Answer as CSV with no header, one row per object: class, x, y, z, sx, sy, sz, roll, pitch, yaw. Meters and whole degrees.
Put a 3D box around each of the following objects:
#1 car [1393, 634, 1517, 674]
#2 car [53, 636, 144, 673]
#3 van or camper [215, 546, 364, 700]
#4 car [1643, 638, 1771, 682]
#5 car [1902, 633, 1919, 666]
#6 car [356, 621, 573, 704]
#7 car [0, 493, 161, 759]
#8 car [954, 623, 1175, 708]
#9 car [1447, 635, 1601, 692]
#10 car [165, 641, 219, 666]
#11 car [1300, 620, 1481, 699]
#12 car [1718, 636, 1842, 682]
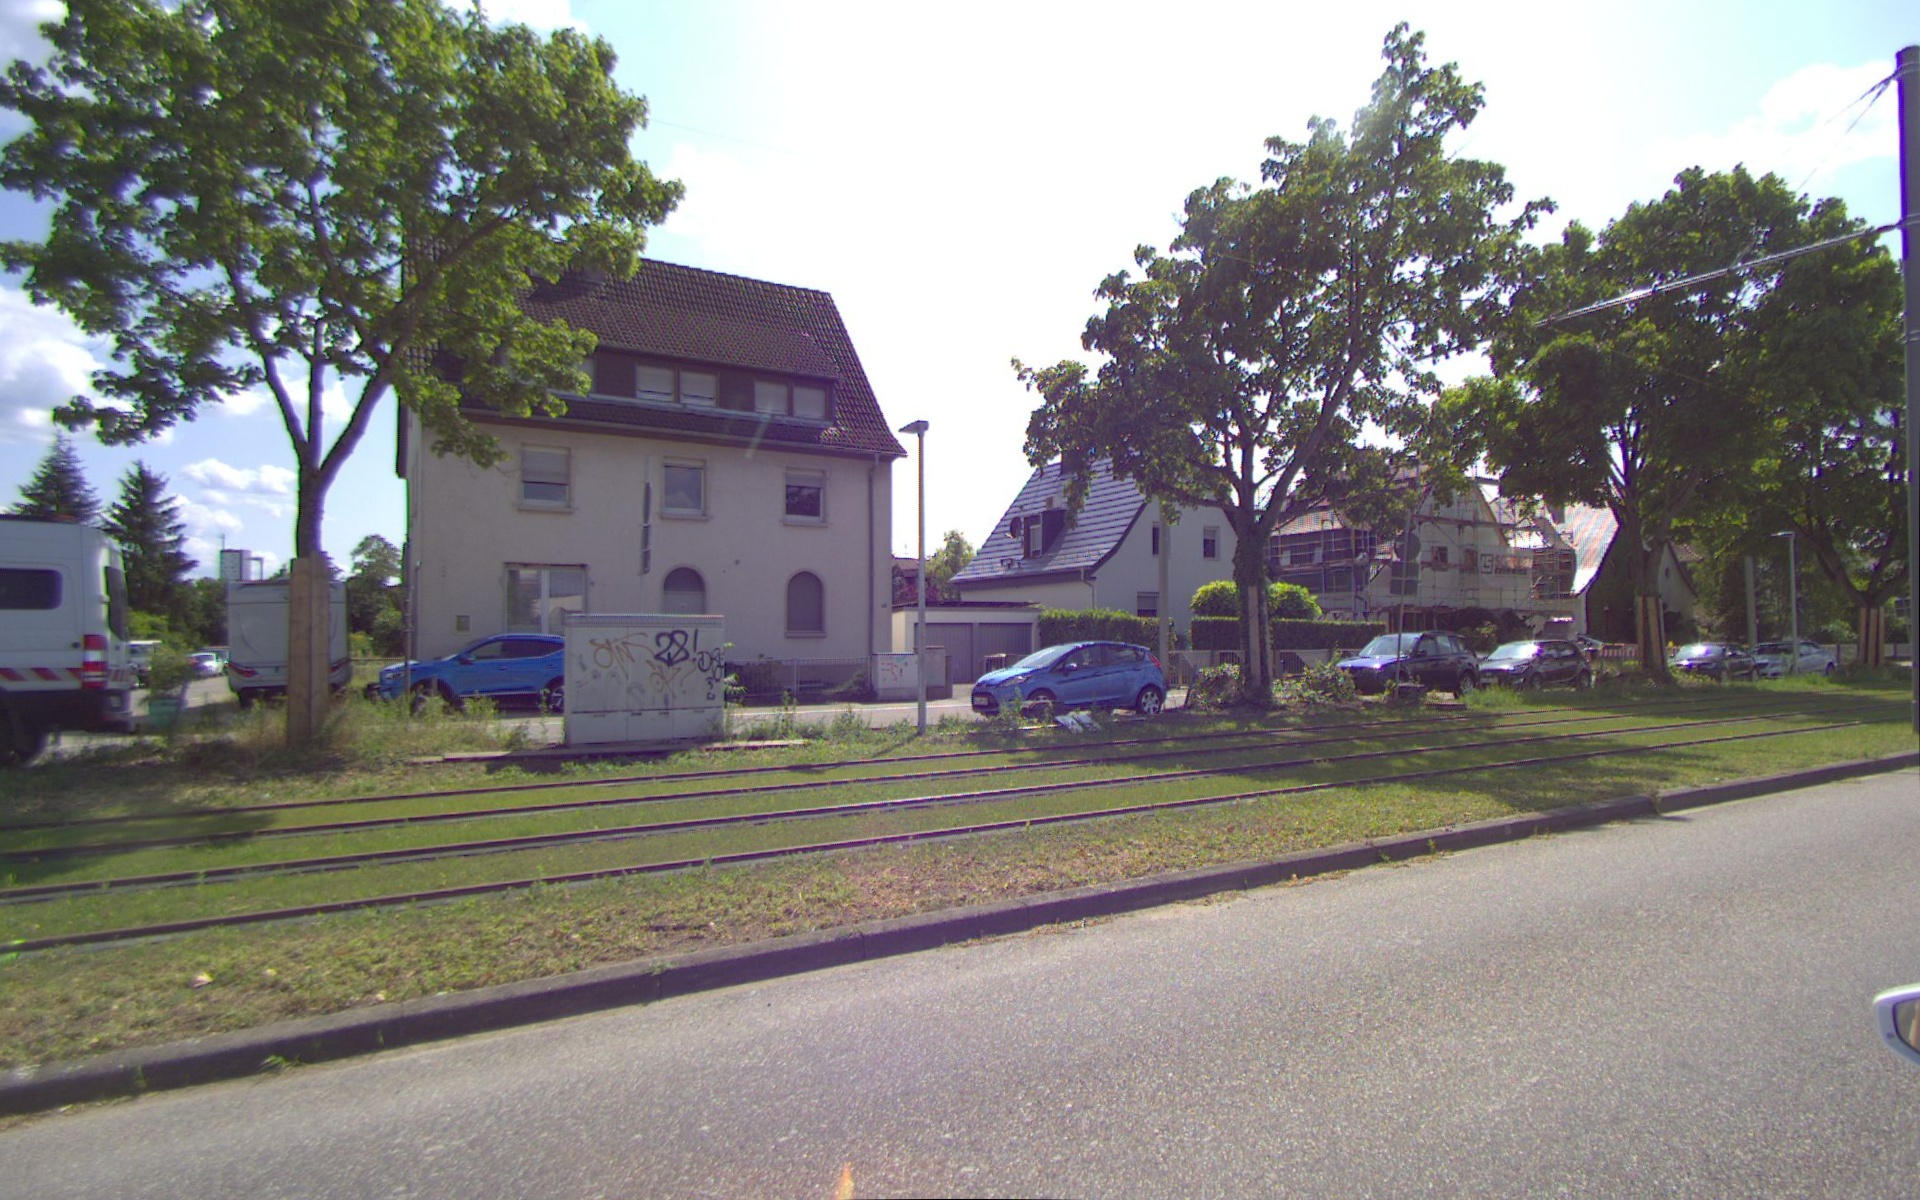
car,19.411,2.097,39.528,1.959,1.419,3.968,2,-2,-30
car,-32.419,2.064,37.903,1.746,1.314,3.971,2,-3,-28
van or camper,-16.340,0.616,24.868,2.604,3.264,6.696,1,-2,-30
car,24.214,1.967,32.551,3.809,1.334,1.984,2,-5,-31
car,43.706,2.208,44.488,3.957,1.472,1.983,2,-3,-33
car,-10.474,1.313,21.324,3.954,1.598,1.894,2,-3,-31
car,-12.302,0.264,10.135,6.393,2.766,1.982,1,-3,-33
car,1.986,1.217,18.845,3.842,1.454,1.747,2,-3,-29
car,15.473,1.739,27.547,3.955,1.457,1.984,2,-4,-31
car,-42.659,2.968,55.885,1.746,1.314,3.971,2,-3,-28
car,10.351,1.418,24.086,4.347,1.713,1.981,2,-3,-34
car,28.980,2.074,35.468,4.882,1.502,1.796,2,-3,-31
